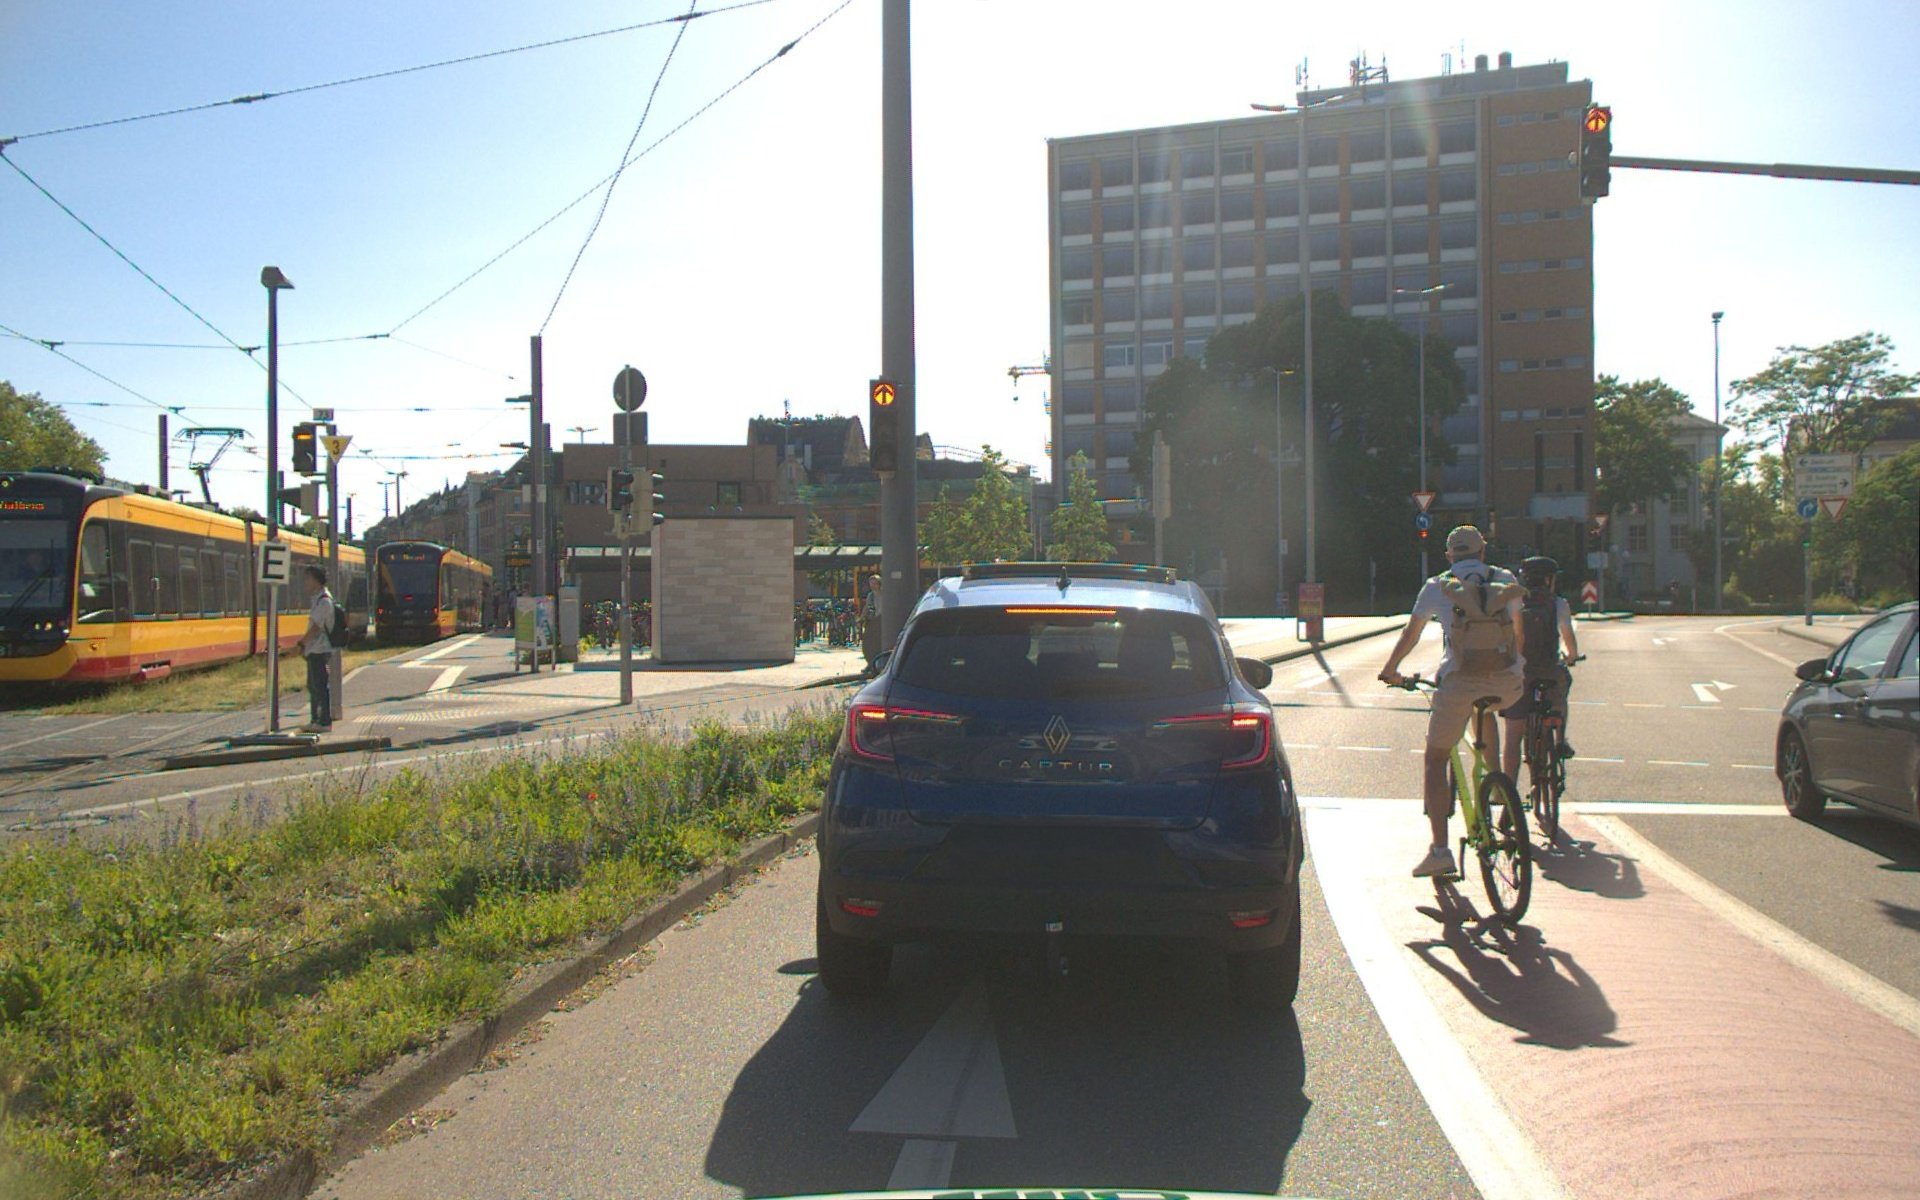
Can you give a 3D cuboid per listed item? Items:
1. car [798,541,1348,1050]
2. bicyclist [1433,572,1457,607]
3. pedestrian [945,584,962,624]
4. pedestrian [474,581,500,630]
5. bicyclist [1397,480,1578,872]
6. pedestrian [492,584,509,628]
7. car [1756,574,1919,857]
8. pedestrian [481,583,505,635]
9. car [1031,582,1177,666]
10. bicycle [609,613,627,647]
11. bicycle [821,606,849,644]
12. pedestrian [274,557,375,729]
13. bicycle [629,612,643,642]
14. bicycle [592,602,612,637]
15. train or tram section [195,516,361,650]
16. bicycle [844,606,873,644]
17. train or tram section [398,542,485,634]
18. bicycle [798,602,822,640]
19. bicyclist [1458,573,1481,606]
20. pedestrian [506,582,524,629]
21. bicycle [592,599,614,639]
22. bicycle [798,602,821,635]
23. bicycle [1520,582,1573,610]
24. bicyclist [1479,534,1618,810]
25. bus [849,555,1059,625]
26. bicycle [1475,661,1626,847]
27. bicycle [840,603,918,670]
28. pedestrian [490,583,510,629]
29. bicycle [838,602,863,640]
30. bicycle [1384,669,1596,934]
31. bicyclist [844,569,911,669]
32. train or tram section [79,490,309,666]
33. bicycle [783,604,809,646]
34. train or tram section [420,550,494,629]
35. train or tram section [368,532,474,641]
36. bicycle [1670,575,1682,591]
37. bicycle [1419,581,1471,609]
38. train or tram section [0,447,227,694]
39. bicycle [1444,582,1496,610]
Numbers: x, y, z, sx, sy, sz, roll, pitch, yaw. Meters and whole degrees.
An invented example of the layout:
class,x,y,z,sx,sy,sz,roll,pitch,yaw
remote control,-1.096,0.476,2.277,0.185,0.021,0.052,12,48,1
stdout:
class,x,y,z,sx,sy,sz,roll,pitch,yaw
car,0.533,0.621,7.258,1.784,1.628,3.661,1,0,5
bicyclist,27.299,-0.584,93.055,1.183,1.930,0.883,0,-1,25
pedestrian,-0.314,0.173,78.574,0.710,1.889,0.703,0,-1,8
pedestrian,-19.001,0.240,66.402,0.724,1.951,0.742,0,-1,12
bicyclist,2.536,0.343,8.045,0.649,1.778,1.006,0,0,7
pedestrian,-20.002,0.252,71.969,0.620,1.889,0.701,1,-1,-9
car,6.314,0.637,9.963,1.718,1.568,3.662,0,0,8
pedestrian,-17.348,0.353,61.442,0.833,1.916,0.757,1,-1,-16
car,2.755,0.400,30.803,1.762,1.417,4.094,-1,1,19
bicycle,-9.958,0.865,48.155,0.414,0.954,1.301,1,0,-15
bicycle,-3.295,0.661,43.593,0.569,0.978,2.054,1,-1,-9
pedestrian,-7.090,0.474,18.441,1.003,1.864,0.755,1,-1,-24
bicycle,-10.412,0.868,53.175,0.414,0.954,1.375,1,0,-11
bicycle,-11.417,0.628,52.738,0.555,1.112,2.024,1,-1,-11
train or tram section,-20.194,-0.453,49.672,2.768,3.569,11.172,0,0,-13
bicycle,-2.694,0.666,43.683,0.569,0.978,2.054,1,-1,-9
train or tram section,-21.769,-0.470,69.861,2.822,3.569,10.504,0,0,-14
bicycle,-4.471,0.631,49.247,0.569,1.107,2.054,1,-1,-9
bicyclist,29.000,-0.600,94.106,1.134,1.829,0.883,0,-1,25
pedestrian,-17.963,0.232,66.793,0.622,1.889,0.699,1,-1,-19
bicycle,-10.016,0.534,46.437,0.555,1.112,2.024,1,-1,-11
bicycle,-5.167,0.628,56.718,0.570,1.107,1.866,1,-1,-11
bicycle,32.894,-0.226,92.720,2.746,1.568,0.883,0,-1,25
bicyclist,3.711,0.424,10.497,0.706,1.654,1.056,1,0,14
bus,-0.514,-0.460,87.577,12.215,3.455,2.867,0,-1,40
bicycle,3.726,0.929,10.569,0.707,0.976,1.885,1,1,14
bicycle,-1.377,0.619,28.563,0.757,1.099,2.037,-1,0,14
pedestrian,-19.008,0.251,68.348,0.661,1.889,0.701,1,-1,-9
bicycle,-3.285,0.640,49.324,0.569,1.107,2.054,1,-1,-9
bicycle,2.562,0.919,8.191,0.648,1.065,1.892,0,0,7
bicyclist,-1.414,0.328,28.507,0.861,1.673,1.061,-1,-1,14
train or tram section,-17.738,-0.445,39.117,2.768,3.569,10.575,0,0,-13
bicycle,-4.293,0.648,43.213,0.569,1.076,1.812,1,-1,-9
train or tram section,-24.224,-0.512,80.090,2.822,3.569,10.505,0,0,-14
train or tram section,-19.266,-0.445,59.624,2.822,3.569,10.504,0,0,-14
bicycle,50.569,-1.179,116.790,0.597,1.112,1.668,-1,0,30
bicycle,27.293,-0.258,93.064,2.746,1.568,0.883,0,-1,25
train or tram section,-15.283,-0.432,28.883,2.770,3.569,10.439,-1,0,-14
bicycle,28.995,-0.230,94.106,2.746,1.568,0.883,0,-1,25
